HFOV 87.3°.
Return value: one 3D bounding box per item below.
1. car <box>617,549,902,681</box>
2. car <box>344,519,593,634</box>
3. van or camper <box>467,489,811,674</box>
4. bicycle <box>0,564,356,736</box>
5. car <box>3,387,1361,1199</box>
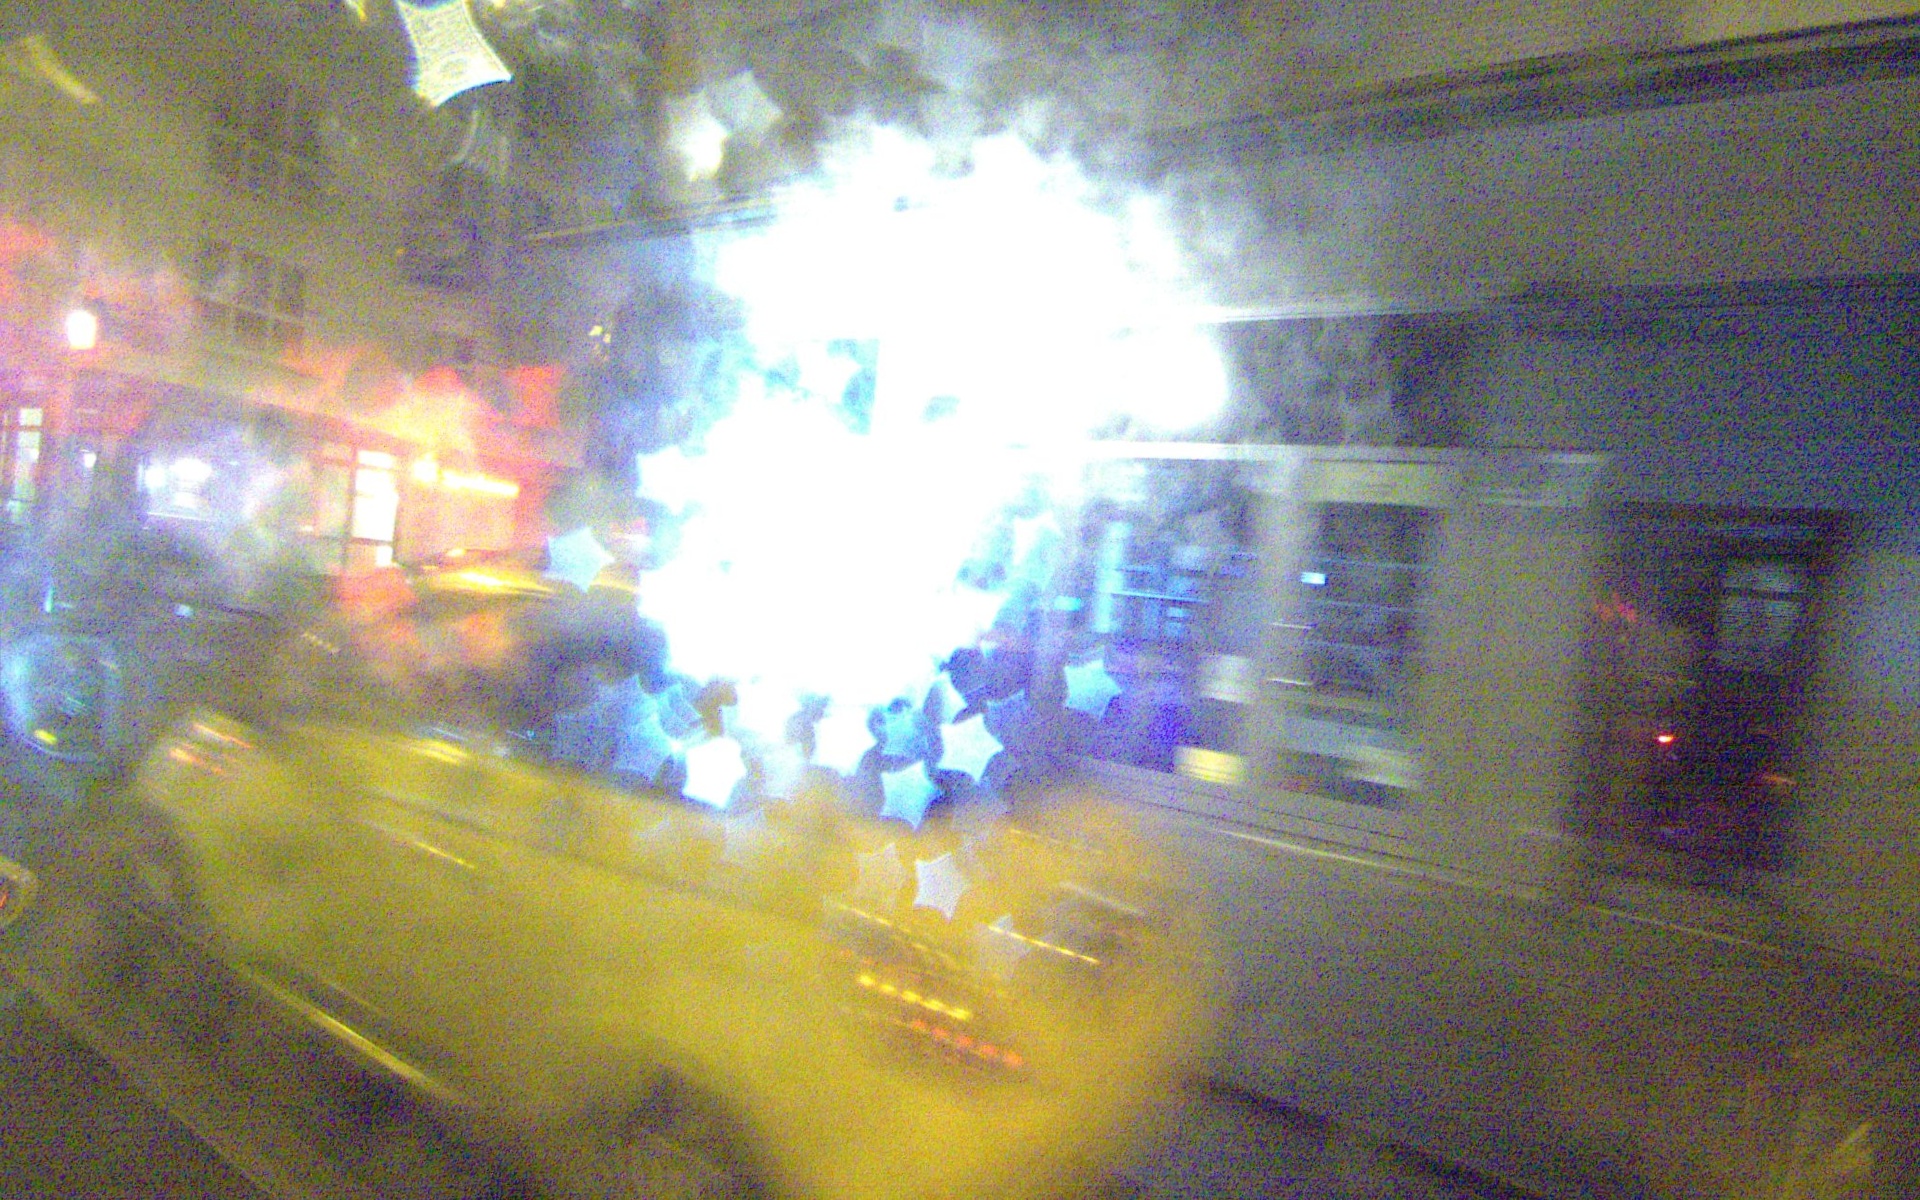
[{"bbox_3d":[-2.865,0.303,15.188,1.864,1.503,3.993,7,-1,32],"label":"car"},{"bbox_3d":[-9.967,-0.410,20.715,1.812,1.791,4.151,7,-1,32],"label":"car"},{"bbox_3d":[-5.277,-0.171,17.427,2.085,2.426,5.324,6,-2,34],"label":"van or camper"},{"bbox_3d":[-5.102,0.318,6.246,2.248,0.905,0.613,6,2,-30],"label":"bicycle"},{"bbox_3d":[-1.045,0.452,3.008,3.792,1.744,1.673,7,2,32],"label":"car"}]
